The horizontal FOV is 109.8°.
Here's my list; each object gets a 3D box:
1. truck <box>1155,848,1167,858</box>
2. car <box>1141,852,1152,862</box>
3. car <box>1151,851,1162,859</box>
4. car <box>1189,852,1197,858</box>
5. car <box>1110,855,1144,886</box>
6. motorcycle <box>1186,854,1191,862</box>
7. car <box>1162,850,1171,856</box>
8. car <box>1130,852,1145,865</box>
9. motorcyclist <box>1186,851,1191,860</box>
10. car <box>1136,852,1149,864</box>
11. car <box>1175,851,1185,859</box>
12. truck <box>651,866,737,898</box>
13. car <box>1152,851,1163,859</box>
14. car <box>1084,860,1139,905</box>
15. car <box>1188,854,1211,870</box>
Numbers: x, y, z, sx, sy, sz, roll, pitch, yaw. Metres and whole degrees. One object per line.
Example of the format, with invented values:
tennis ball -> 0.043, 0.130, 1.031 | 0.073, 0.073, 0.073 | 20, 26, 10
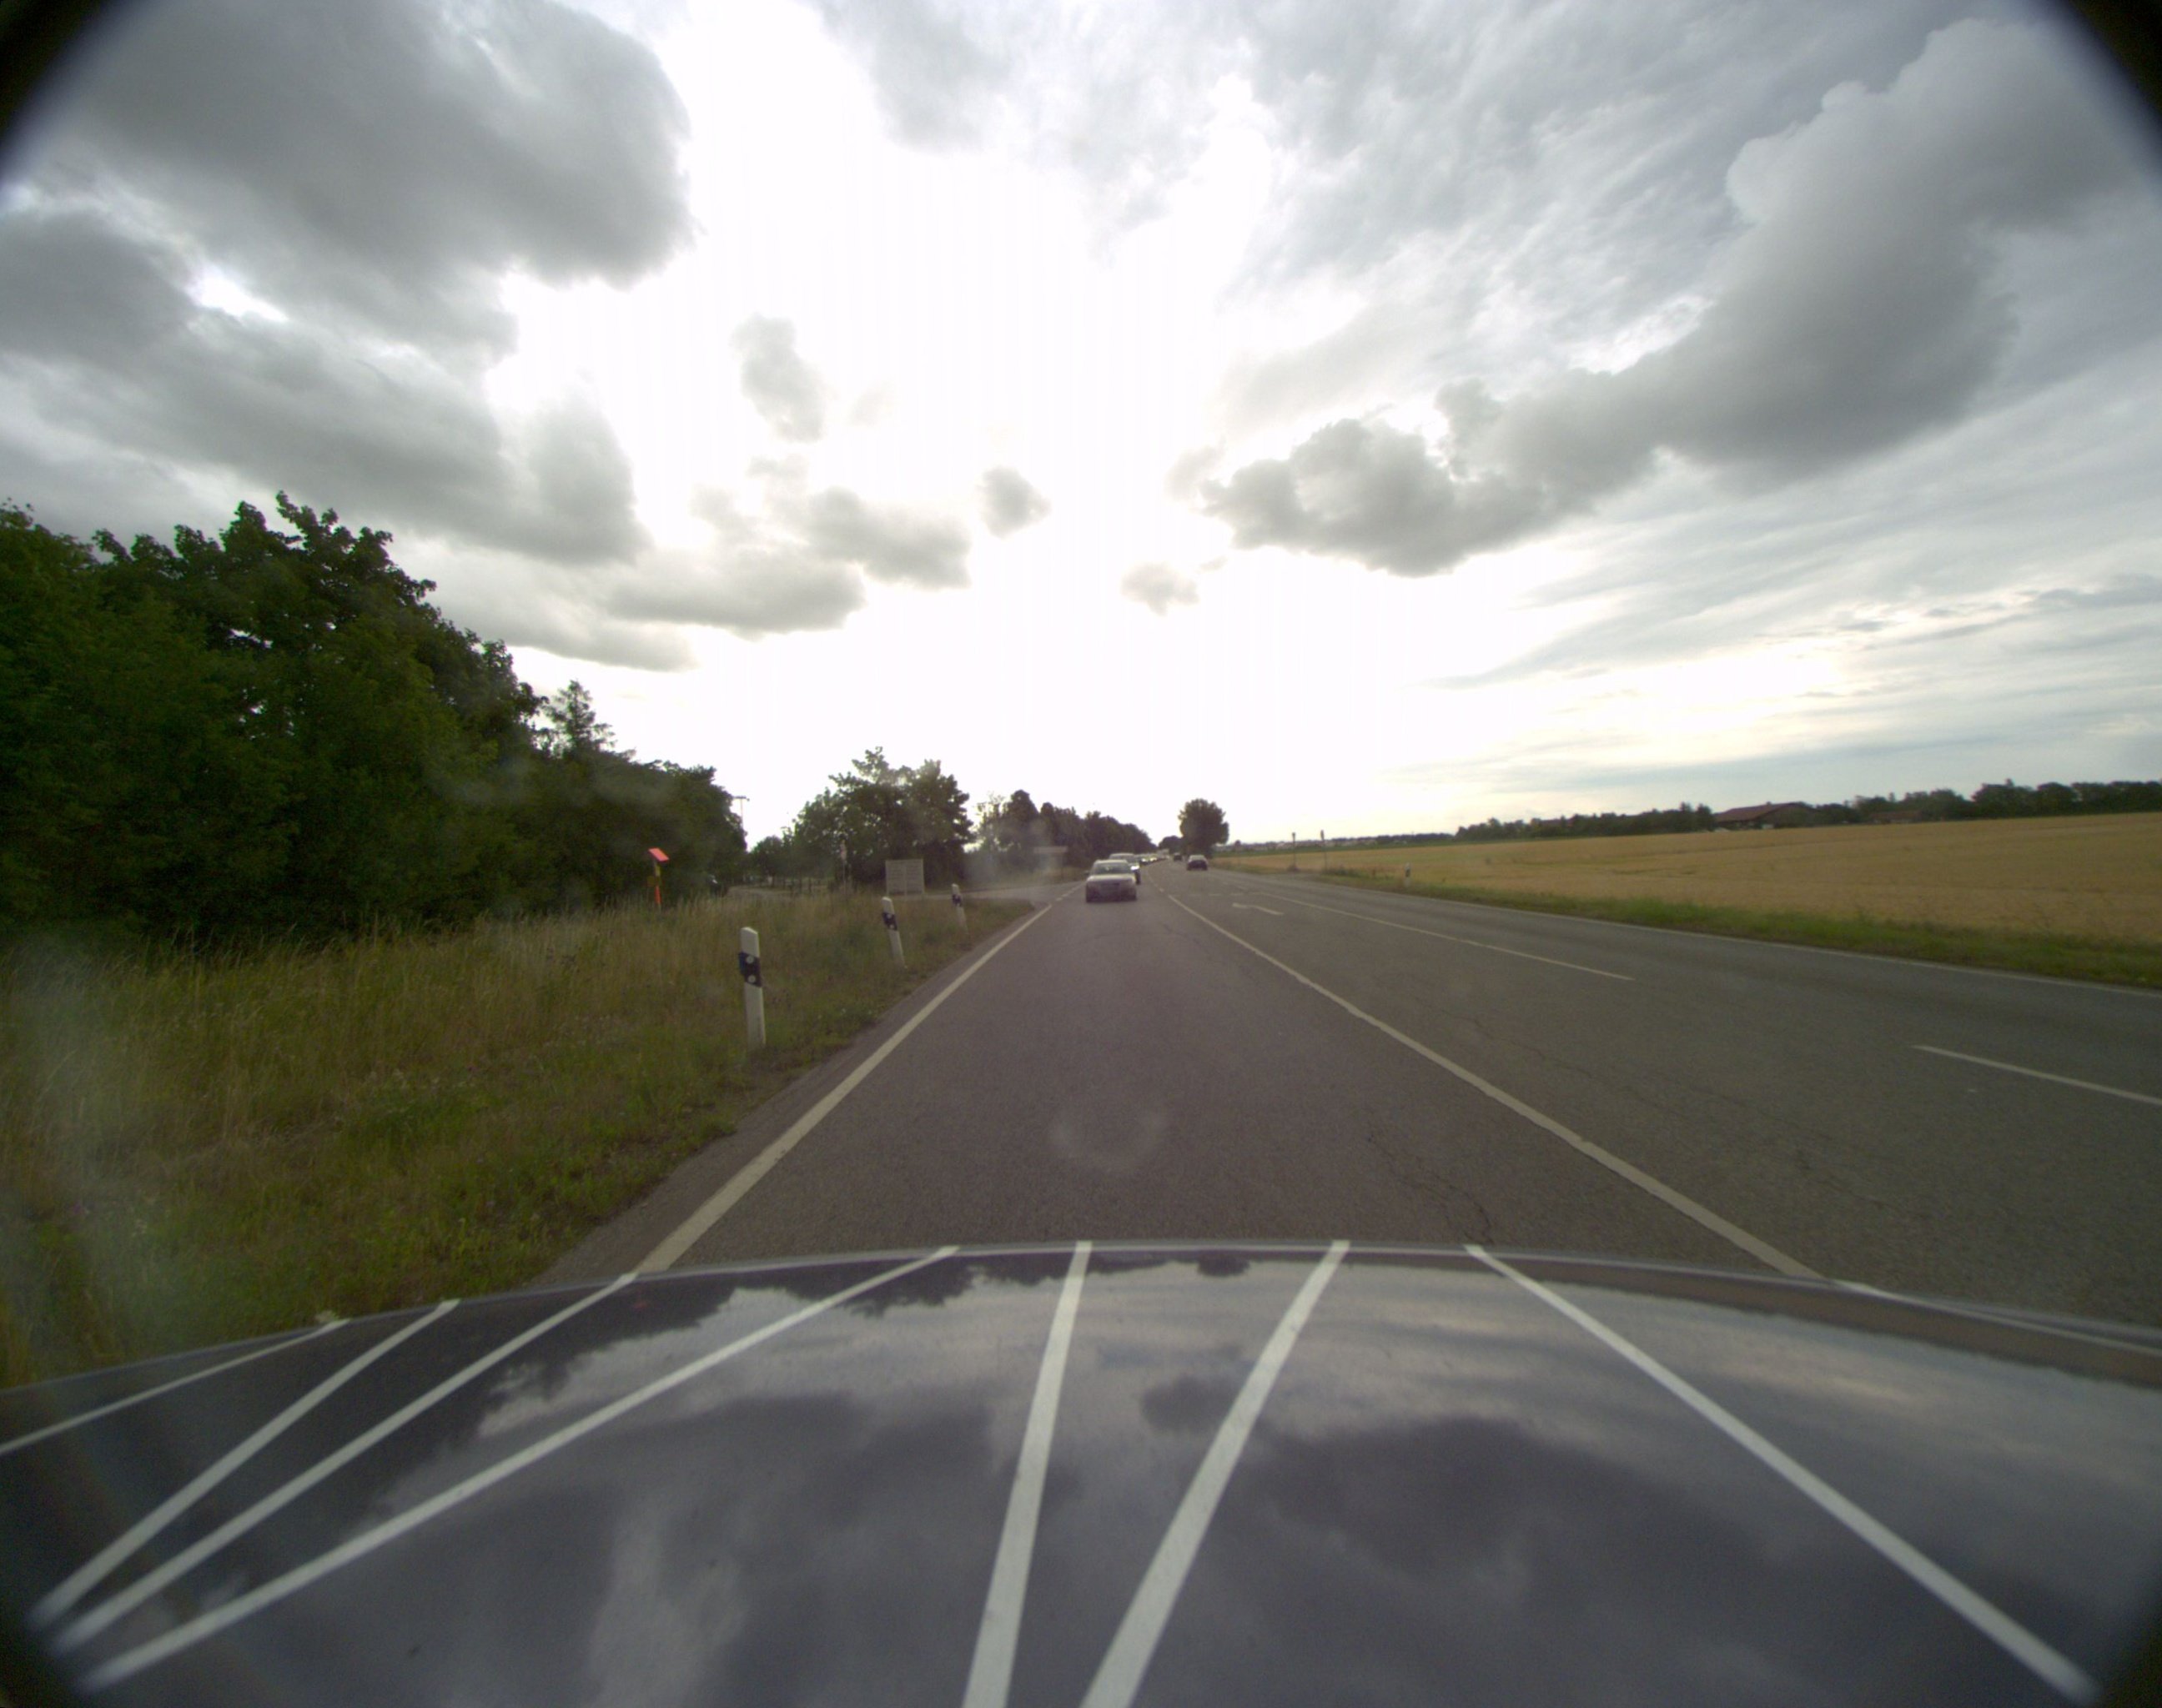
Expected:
truck -> 22.630, -0.309, 214.822 | 2.320, 2.749, 7.672 | -3, 0, -1
car -> 10.955, 0.417, 126.699 | 1.793, 1.573, 4.189 | -2, 0, 6
car -> 16.232, 0.184, 162.706 | 1.953, 1.573, 4.140 | -2, 0, 12
car -> 32.945, 0.261, 224.153 | 1.996, 1.501, 4.004 | -1, 0, 13
car -> 2.527, 0.859, 42.433 | 1.793, 1.573, 4.368 | -2, 0, 2
motorcycle -> 16.397, 0.637, 115.634 | 0.727, 1.142, 2.025 | -2, 0, 7
car -> 21.695, -0.221, 192.881 | 1.792, 1.530, 4.140 | -2, 0, 12
car -> 7.351, 0.602, 98.531 | 1.793, 1.573, 4.369 | -2, 0, 5
motorcyclist -> 16.391, 0.285, 115.657 | 0.641, 1.376, 0.810 | -2, 1, 7
car -> 9.131, 0.556, 111.899 | 1.793, 1.573, 4.189 | -2, 0, 6
car -> 20.725, 0.246, 159.143 | 1.951, 1.684, 4.448 | -2, 0, 7
truck -> -43.590, 3.125, 85.904 | 8.382, 3.092, 3.067 | -2, 0, -24
car -> 15.814, 0.168, 157.119 | 1.792, 1.573, 4.140 | -2, 0, 10
car -> 1.198, 0.979, 27.717 | 1.793, 1.415, 4.369 | -2, 0, 4
car -> 11.250, 0.728, 72.516 | 1.830, 1.402, 4.426 | -2, 0, 5
